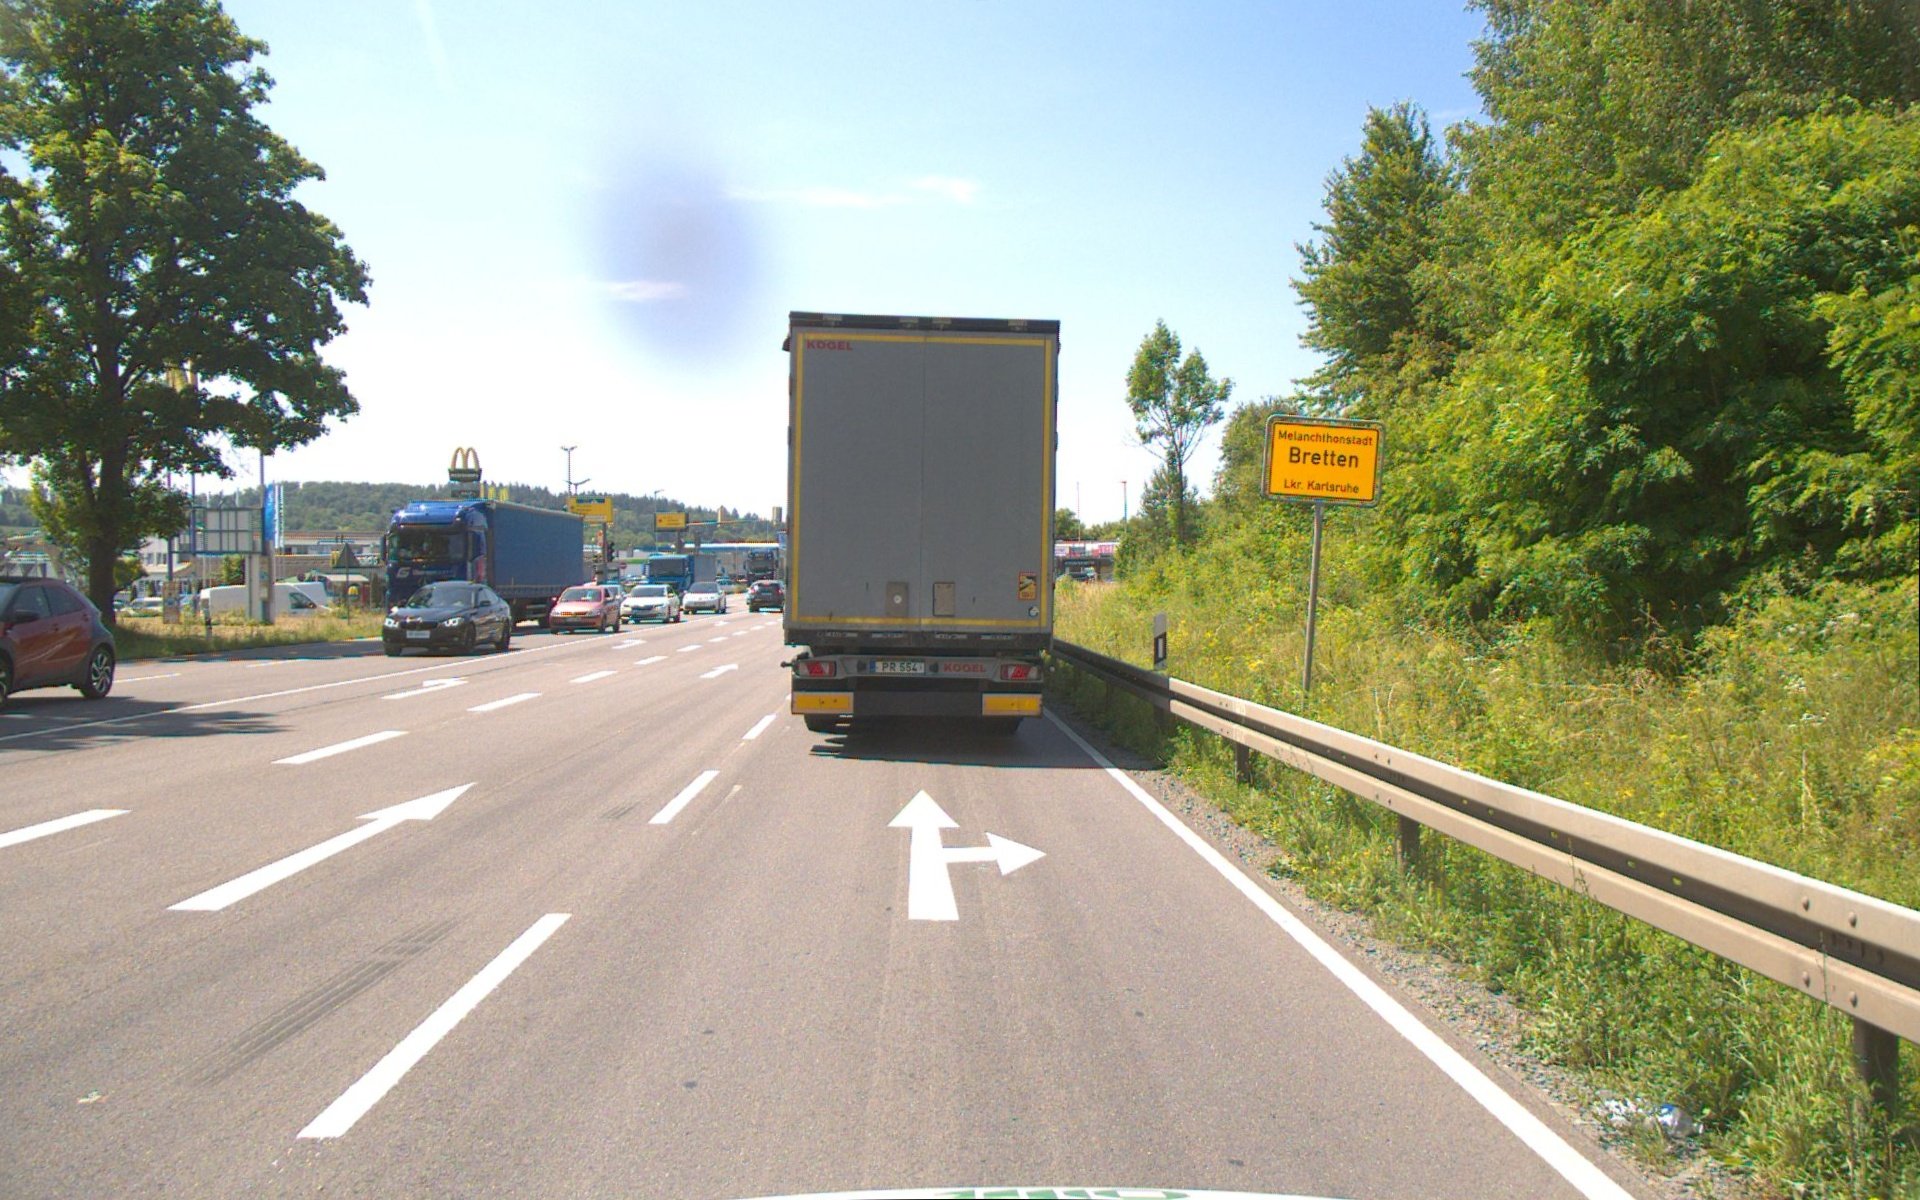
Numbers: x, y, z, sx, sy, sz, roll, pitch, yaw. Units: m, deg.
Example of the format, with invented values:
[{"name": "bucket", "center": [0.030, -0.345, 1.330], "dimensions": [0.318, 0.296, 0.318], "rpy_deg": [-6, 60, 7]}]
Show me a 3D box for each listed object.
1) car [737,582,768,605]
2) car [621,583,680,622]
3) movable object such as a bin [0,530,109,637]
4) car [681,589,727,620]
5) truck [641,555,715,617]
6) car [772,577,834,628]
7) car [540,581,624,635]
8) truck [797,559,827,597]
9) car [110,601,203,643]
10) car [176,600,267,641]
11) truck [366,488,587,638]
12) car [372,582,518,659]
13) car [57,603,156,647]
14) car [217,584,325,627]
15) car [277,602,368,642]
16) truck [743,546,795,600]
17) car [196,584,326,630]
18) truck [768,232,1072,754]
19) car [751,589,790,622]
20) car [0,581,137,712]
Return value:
[{"name": "car", "center": [-13.789, -0.464, 110.028], "dimensions": [1.754, 1.451, 4.260], "rpy_deg": [1, 0, -4]}, {"name": "car", "center": [-11.925, 0.087, 63.910], "dimensions": [1.666, 1.439, 4.560], "rpy_deg": [0, 0, -3]}, {"name": "movable object such as a bin", "center": [-34.051, -0.437, 57.872], "dimensions": [2.995, 3.353, 6.765], "rpy_deg": [0, 7, 39]}, {"name": "car", "center": [-12.741, 0.212, 82.547], "dimensions": [1.726, 1.453, 4.178], "rpy_deg": [-1, 0, -1]}, {"name": "truck", "center": [-16.396, -0.806, 96.949], "dimensions": [2.789, 3.410, 11.477], "rpy_deg": [0, 0, -2]}, {"name": "car", "center": [-5.505, 0.076, 58.444], "dimensions": [1.768, 1.699, 4.291], "rpy_deg": [1, 0, 0]}, {"name": "car", "center": [-11.503, 0.225, 50.523], "dimensions": [1.731, 1.470, 3.774], "rpy_deg": [-4, 0, -2]}, {"name": "truck", "center": [-16.493, -2.417, 184.920], "dimensions": [2.876, 4.019, 14.229], "rpy_deg": [0, 0, -3]}, {"name": "car", "center": [-32.902, 0.864, 67.685], "dimensions": [3.920, 1.646, 1.833], "rpy_deg": [0, 0, 36]}, {"name": "car", "center": [-31.168, 0.848, 69.781], "dimensions": [3.920, 1.646, 1.833], "rpy_deg": [0, 0, 36]}, {"name": "truck", "center": [-15.706, -1.092, 55.599], "dimensions": [2.908, 4.250, 16.570], "rpy_deg": [0, 0, -1]}, {"name": "car", "center": [-11.097, 0.428, 35.999], "dimensions": [1.880, 1.506, 4.684], "rpy_deg": [-1, 0, -3]}, {"name": "car", "center": [-33.873, 0.955, 65.633], "dimensions": [3.920, 1.680, 1.992], "rpy_deg": [0, 0, 36]}, {"name": "car", "center": [-37.223, 0.276, 89.485], "dimensions": [1.960, 2.221, 5.173], "rpy_deg": [0, 0, 36]}, {"name": "car", "center": [-27.459, 0.907, 71.223], "dimensions": [3.920, 1.646, 1.833], "rpy_deg": [0, 0, 36]}, {"name": "truck", "center": [-16.651, -2.249, 145.168], "dimensions": [3.082, 4.425, 17.536], "rpy_deg": [0, 0, -2]}, {"name": "car", "center": [-31.934, 0.293, 75.622], "dimensions": [5.167, 2.049, 1.972], "rpy_deg": [0, 0, -39]}, {"name": "truck", "center": [-0.729, -0.899, 23.442], "dimensions": [2.700, 4.720, 16.645], "rpy_deg": [1, -1, -3]}, {"name": "car", "center": [-9.779, 0.292, 85.513], "dimensions": [1.758, 1.655, 4.366], "rpy_deg": [0, 0, -4]}, {"name": "car", "center": [-11.605, 0.511, 19.830], "dimensions": [1.608, 1.463, 4.015], "rpy_deg": [0, 0, -3]}]
